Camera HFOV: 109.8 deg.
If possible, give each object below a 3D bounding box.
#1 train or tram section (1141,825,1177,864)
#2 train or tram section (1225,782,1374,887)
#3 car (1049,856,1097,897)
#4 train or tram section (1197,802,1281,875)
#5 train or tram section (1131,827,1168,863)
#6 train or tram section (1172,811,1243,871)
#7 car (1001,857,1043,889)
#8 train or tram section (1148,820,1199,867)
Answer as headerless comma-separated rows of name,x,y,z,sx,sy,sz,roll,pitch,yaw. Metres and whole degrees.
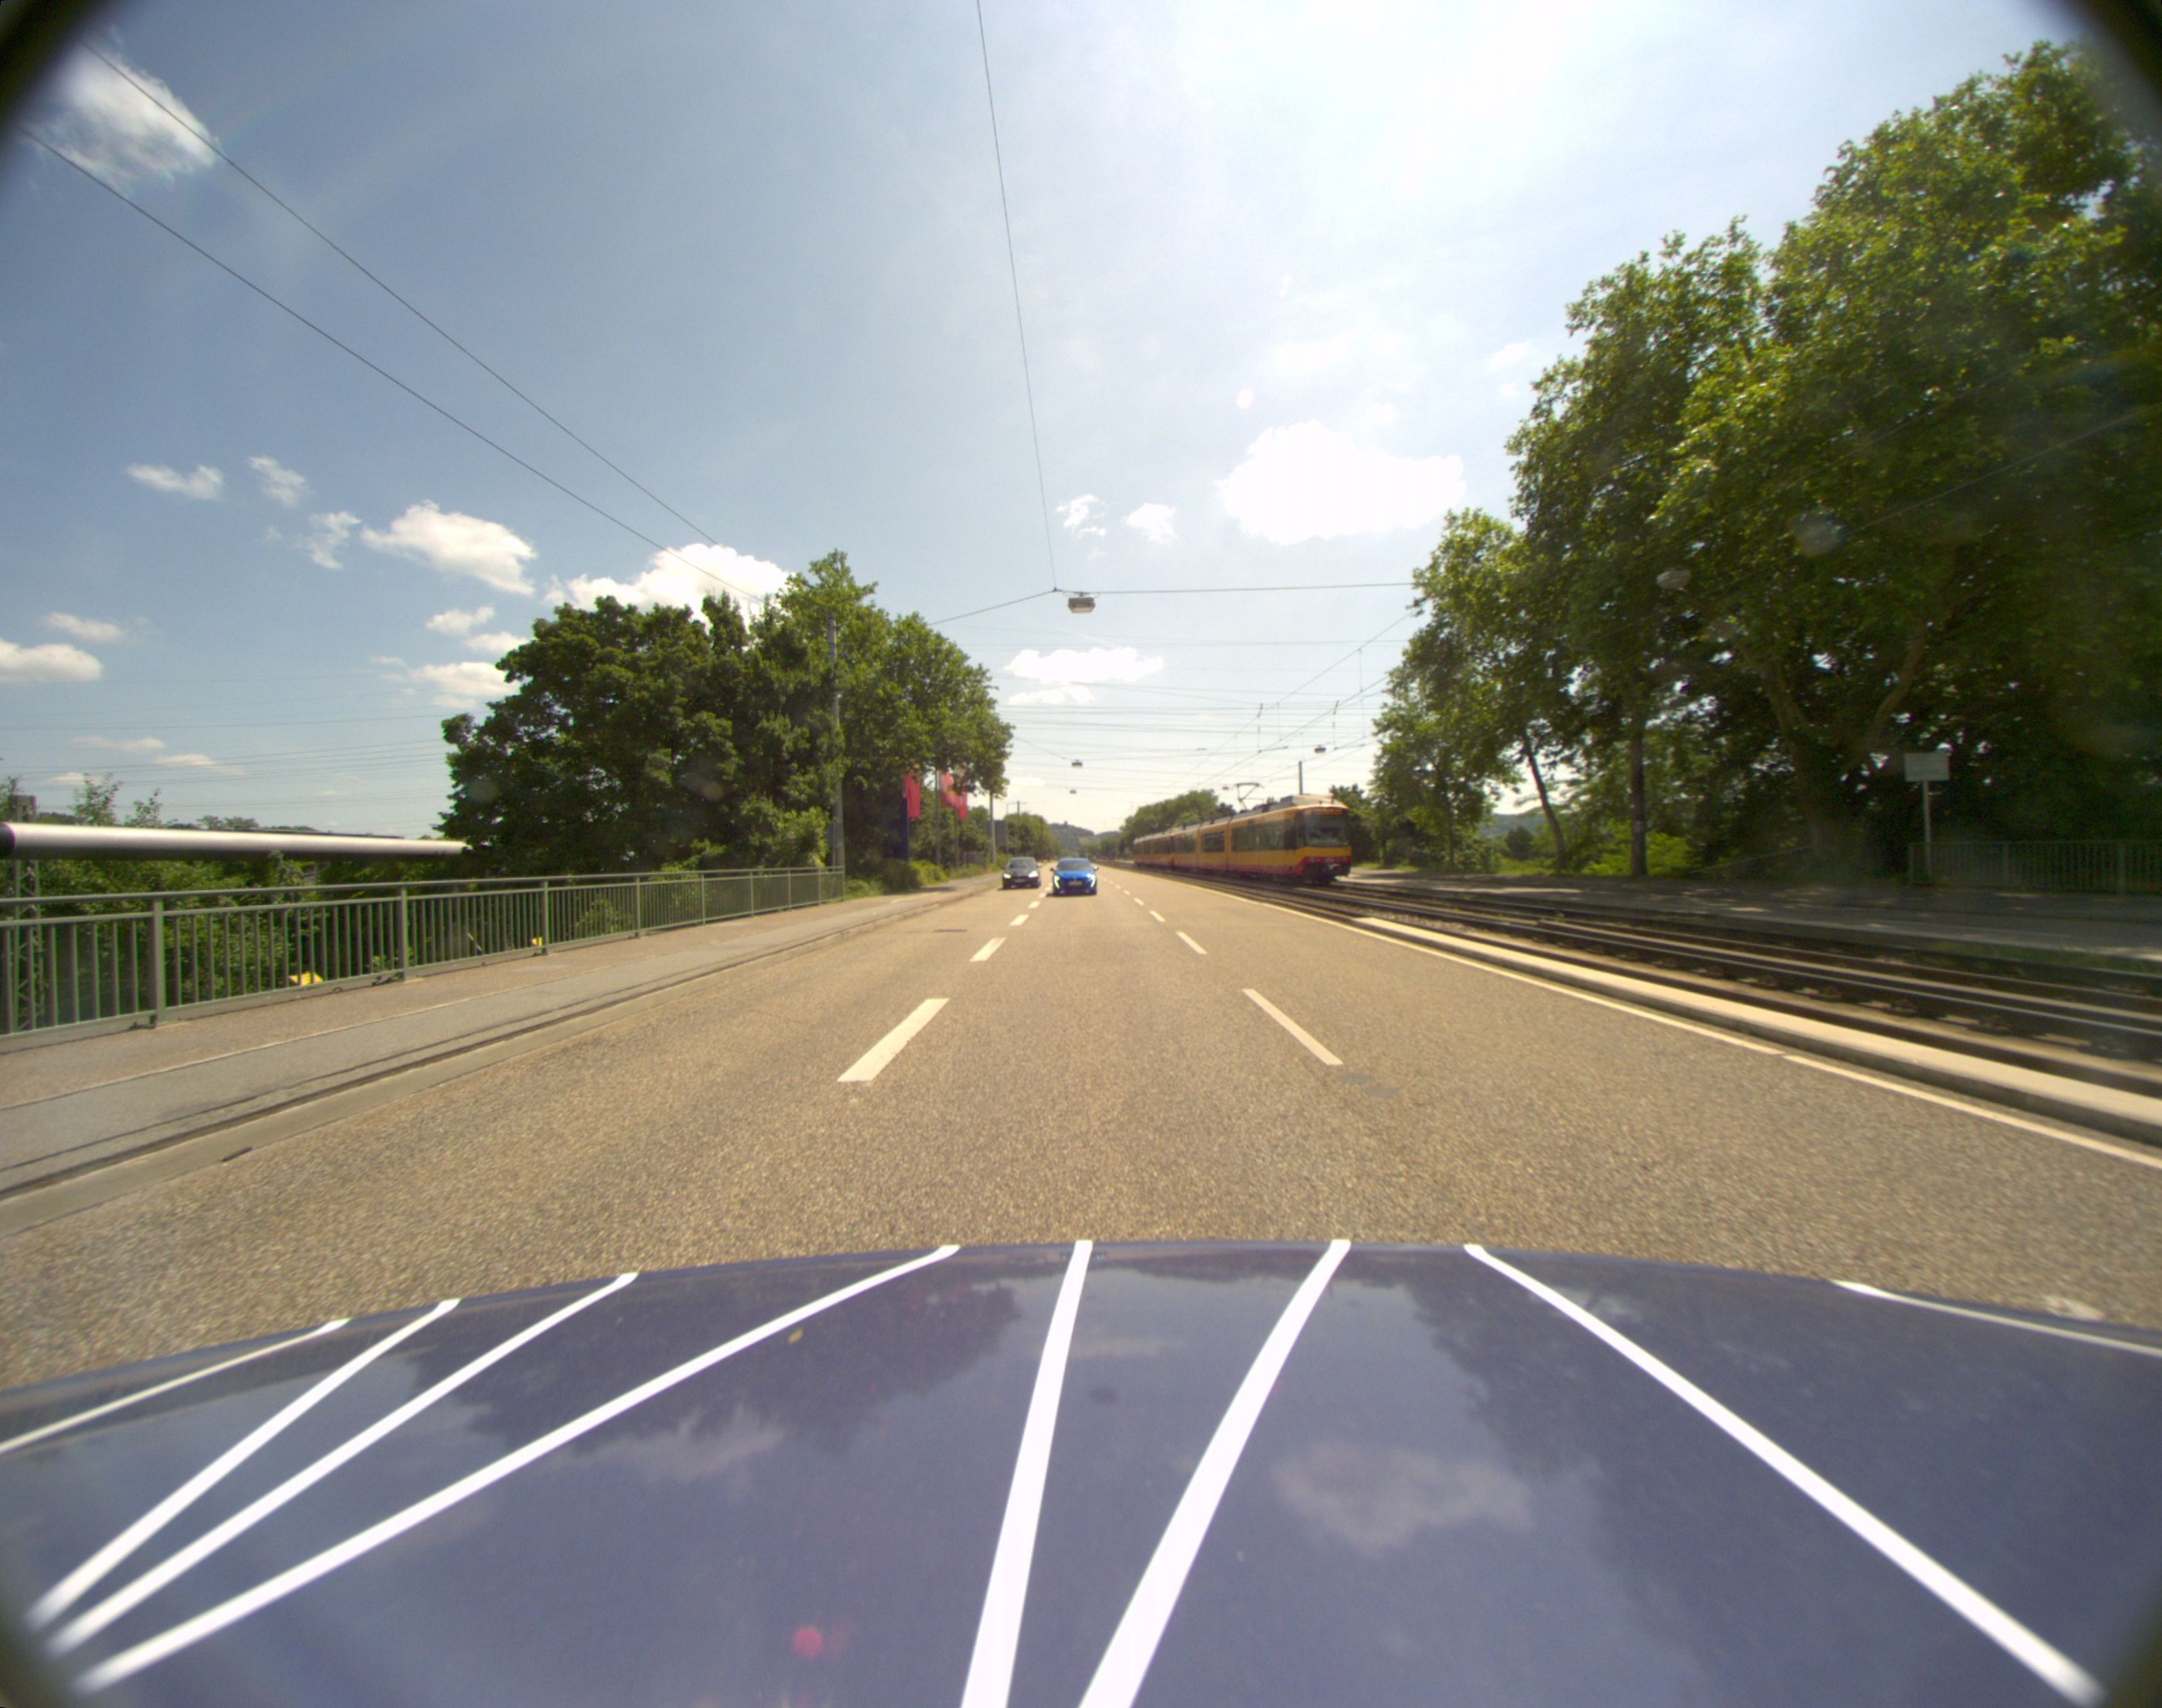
train or tram section,8.864,-1.070,86.924,3.056,4.242,8.001,-1,0,-1
train or tram section,10.013,-0.833,37.181,3.046,4.117,13.979,-1,0,-1
car,-0.310,0.842,31.035,1.771,1.463,4.467,-2,0,0
train or tram section,9.846,-0.912,48.608,3.046,4.124,10.231,-1,1,-1
train or tram section,8.651,-1.131,98.077,3.056,4.242,15.420,-1,0,-1
train or tram section,9.631,-0.971,59.720,3.046,4.130,13.478,-1,0,-1
car,-2.920,0.931,38.476,1.771,1.422,4.000,-2,0,0
train or tram section,9.104,-1.020,76.564,3.056,4.242,14.033,-1,0,-1
